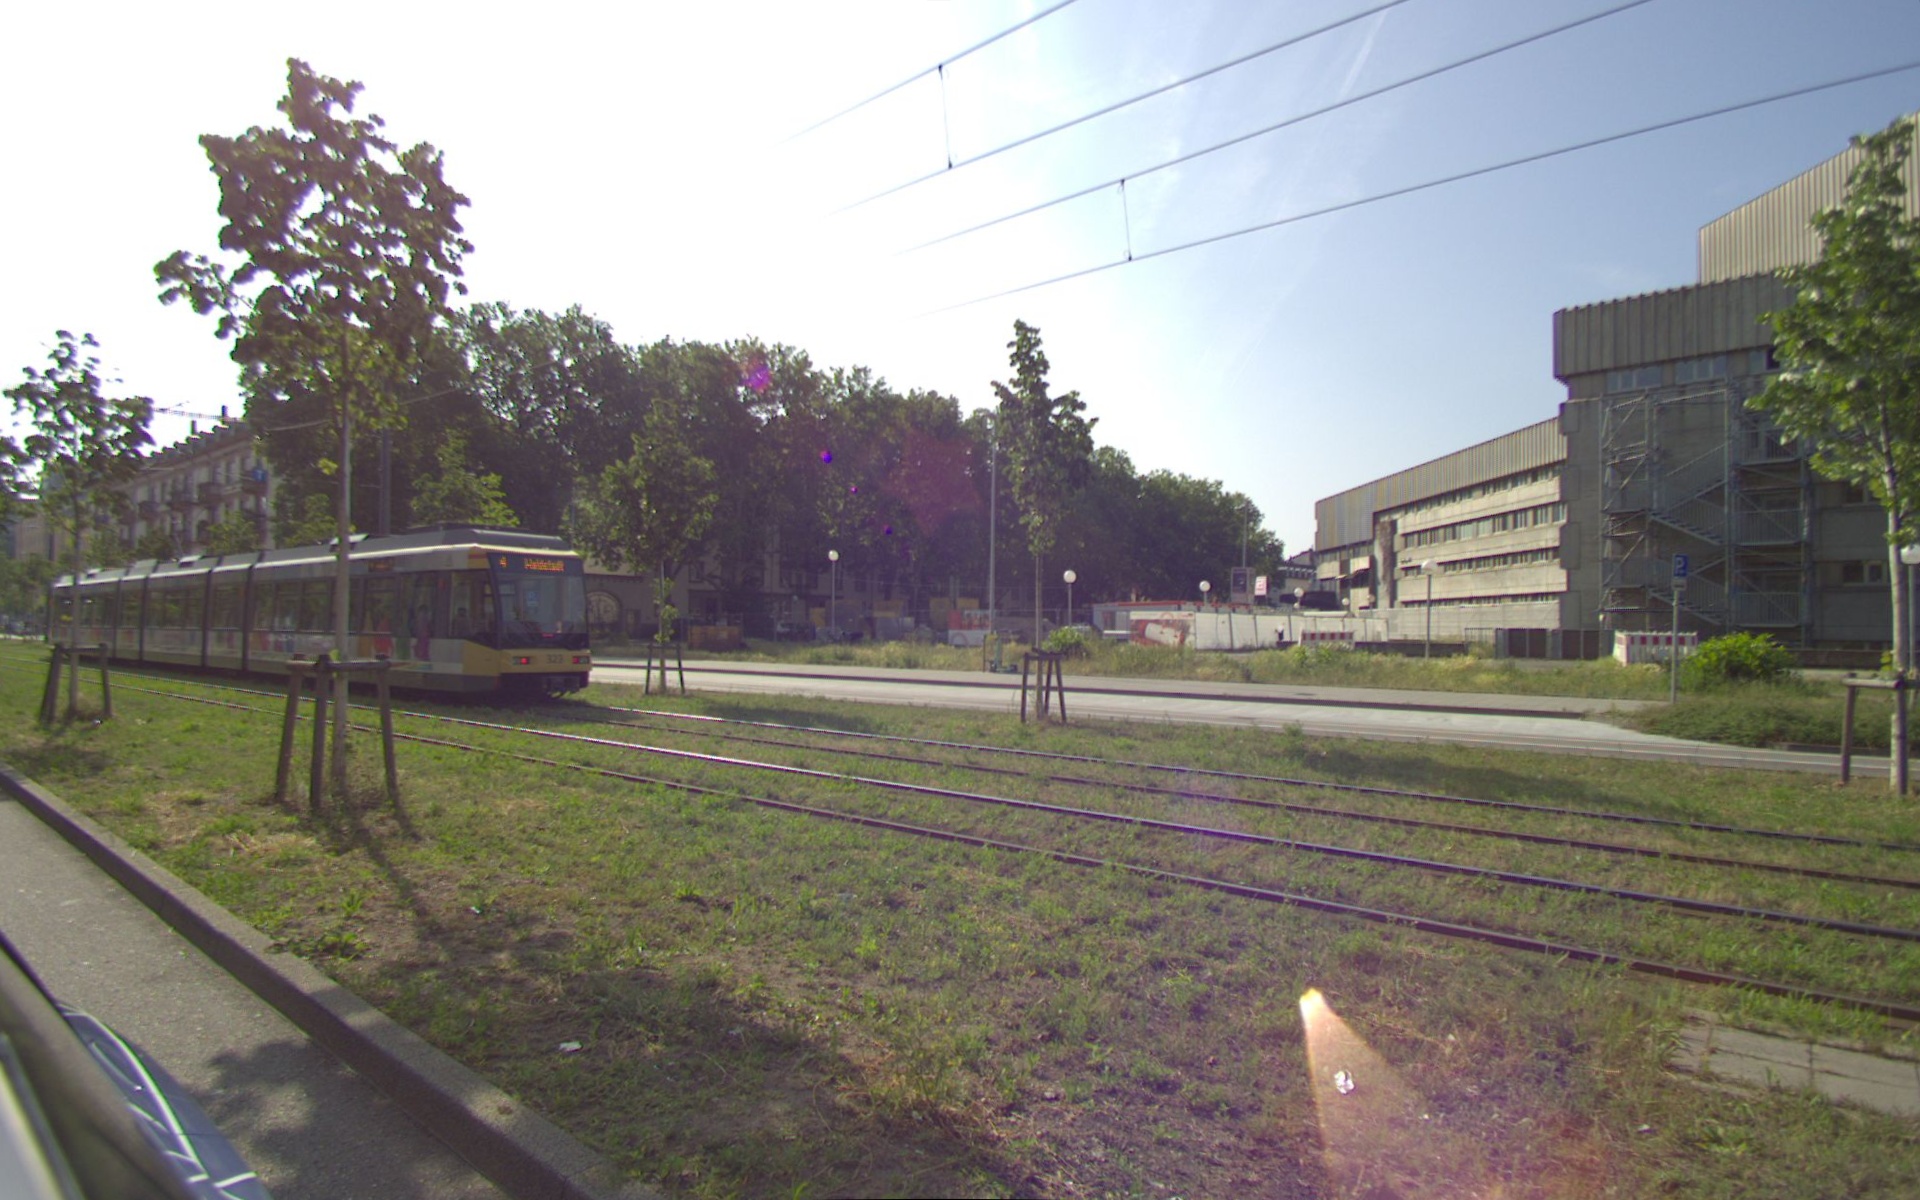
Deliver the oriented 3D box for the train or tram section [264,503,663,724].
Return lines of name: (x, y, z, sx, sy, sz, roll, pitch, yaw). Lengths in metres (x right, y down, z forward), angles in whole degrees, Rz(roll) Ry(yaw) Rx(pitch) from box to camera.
train or tram section: (-11.145, 0.325, 21.612, 12.214, 3.614, 2.869, -1, -3, 40)

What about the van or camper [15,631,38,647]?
van or camper: (-118.940, 4.931, 128.926, 4.000, 1.983, 1.909, -2, -3, 43)

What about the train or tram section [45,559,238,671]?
train or tram section: (-30.712, 0.600, 37.658, 12.462, 3.614, 2.870, -1, -3, 39)

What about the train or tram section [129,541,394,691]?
train or tram section: (-20.864, 0.497, 29.680, 12.921, 3.614, 2.869, -1, -3, 40)
